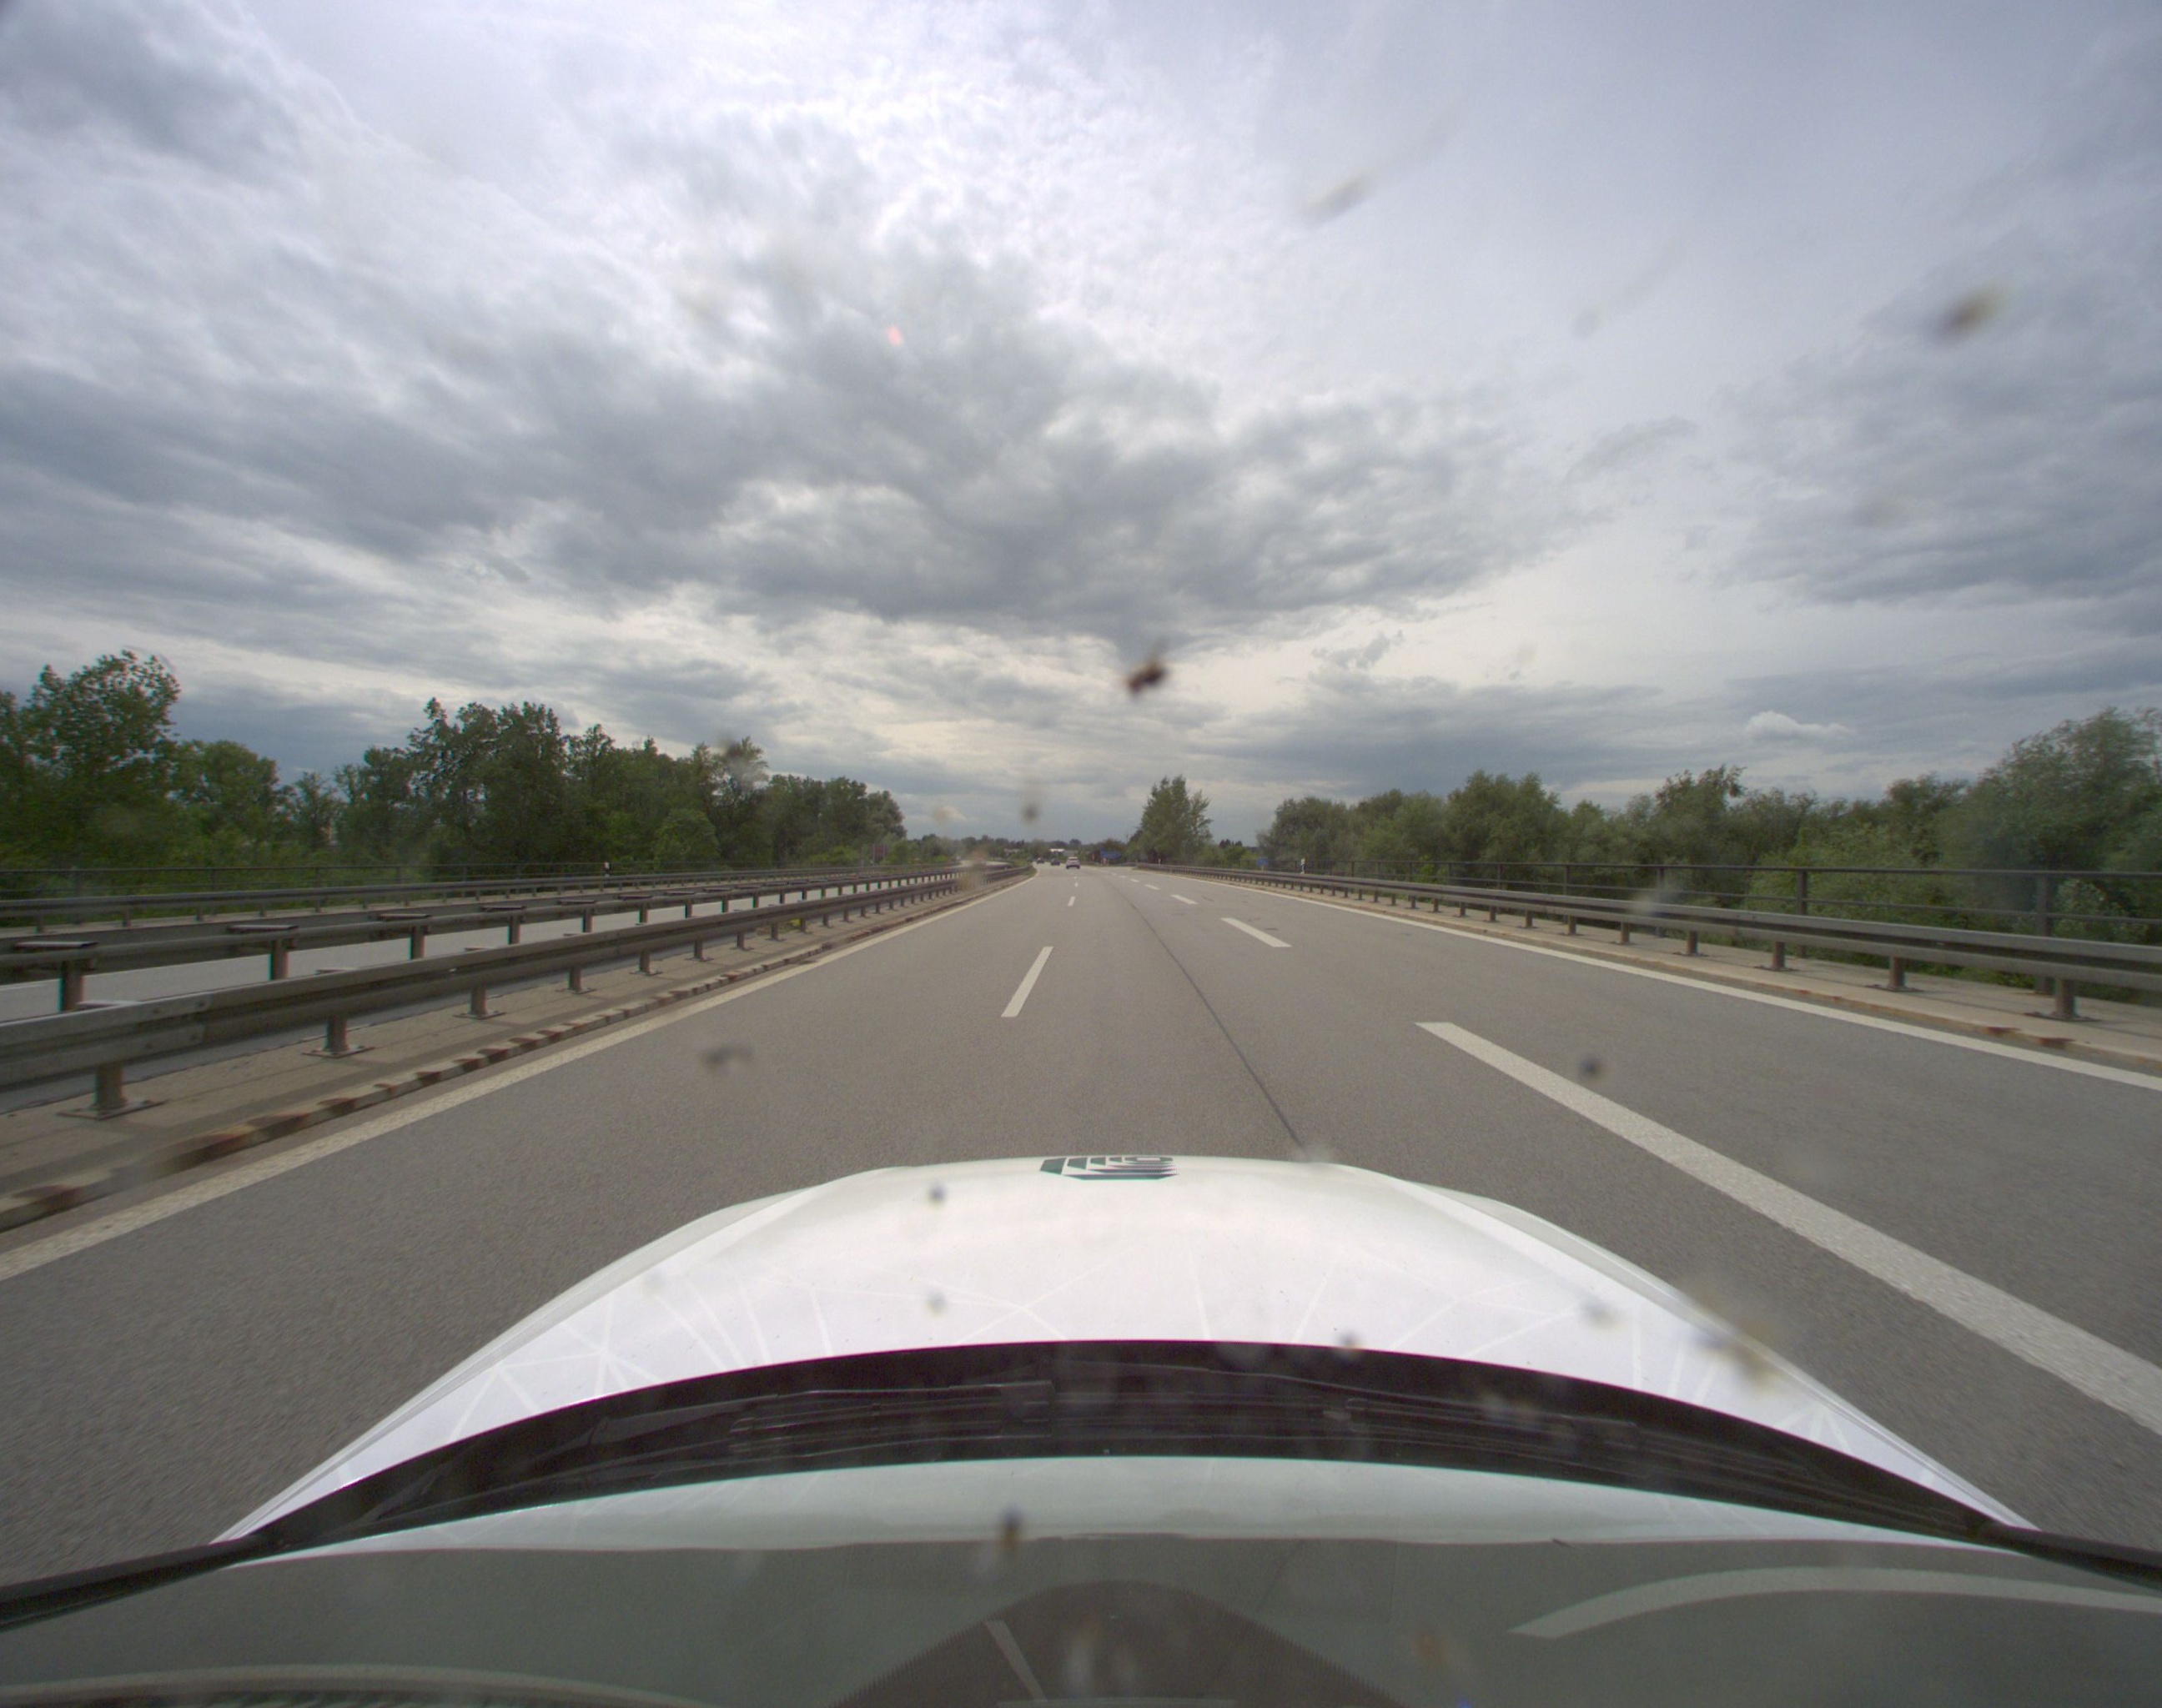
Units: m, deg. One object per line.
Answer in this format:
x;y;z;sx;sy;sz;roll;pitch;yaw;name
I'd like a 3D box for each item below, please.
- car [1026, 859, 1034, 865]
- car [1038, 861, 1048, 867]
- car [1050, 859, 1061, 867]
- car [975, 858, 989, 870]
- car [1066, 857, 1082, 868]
-15.305;2.350;244.107;1.827;1.794;4.396;0;0;-11;car
-9.934;2.550;211.711;1.903;1.640;4.762;0;0;-11;car
-5.307;1.896;168.805;1.891;1.640;4.609;0;0;-8;car
-15.762;1.572;129.963;1.638;1.715;4.978;0;0;-1;car
-1.032;1.208;117.216;1.899;1.640;4.387;0;0;-5;car
